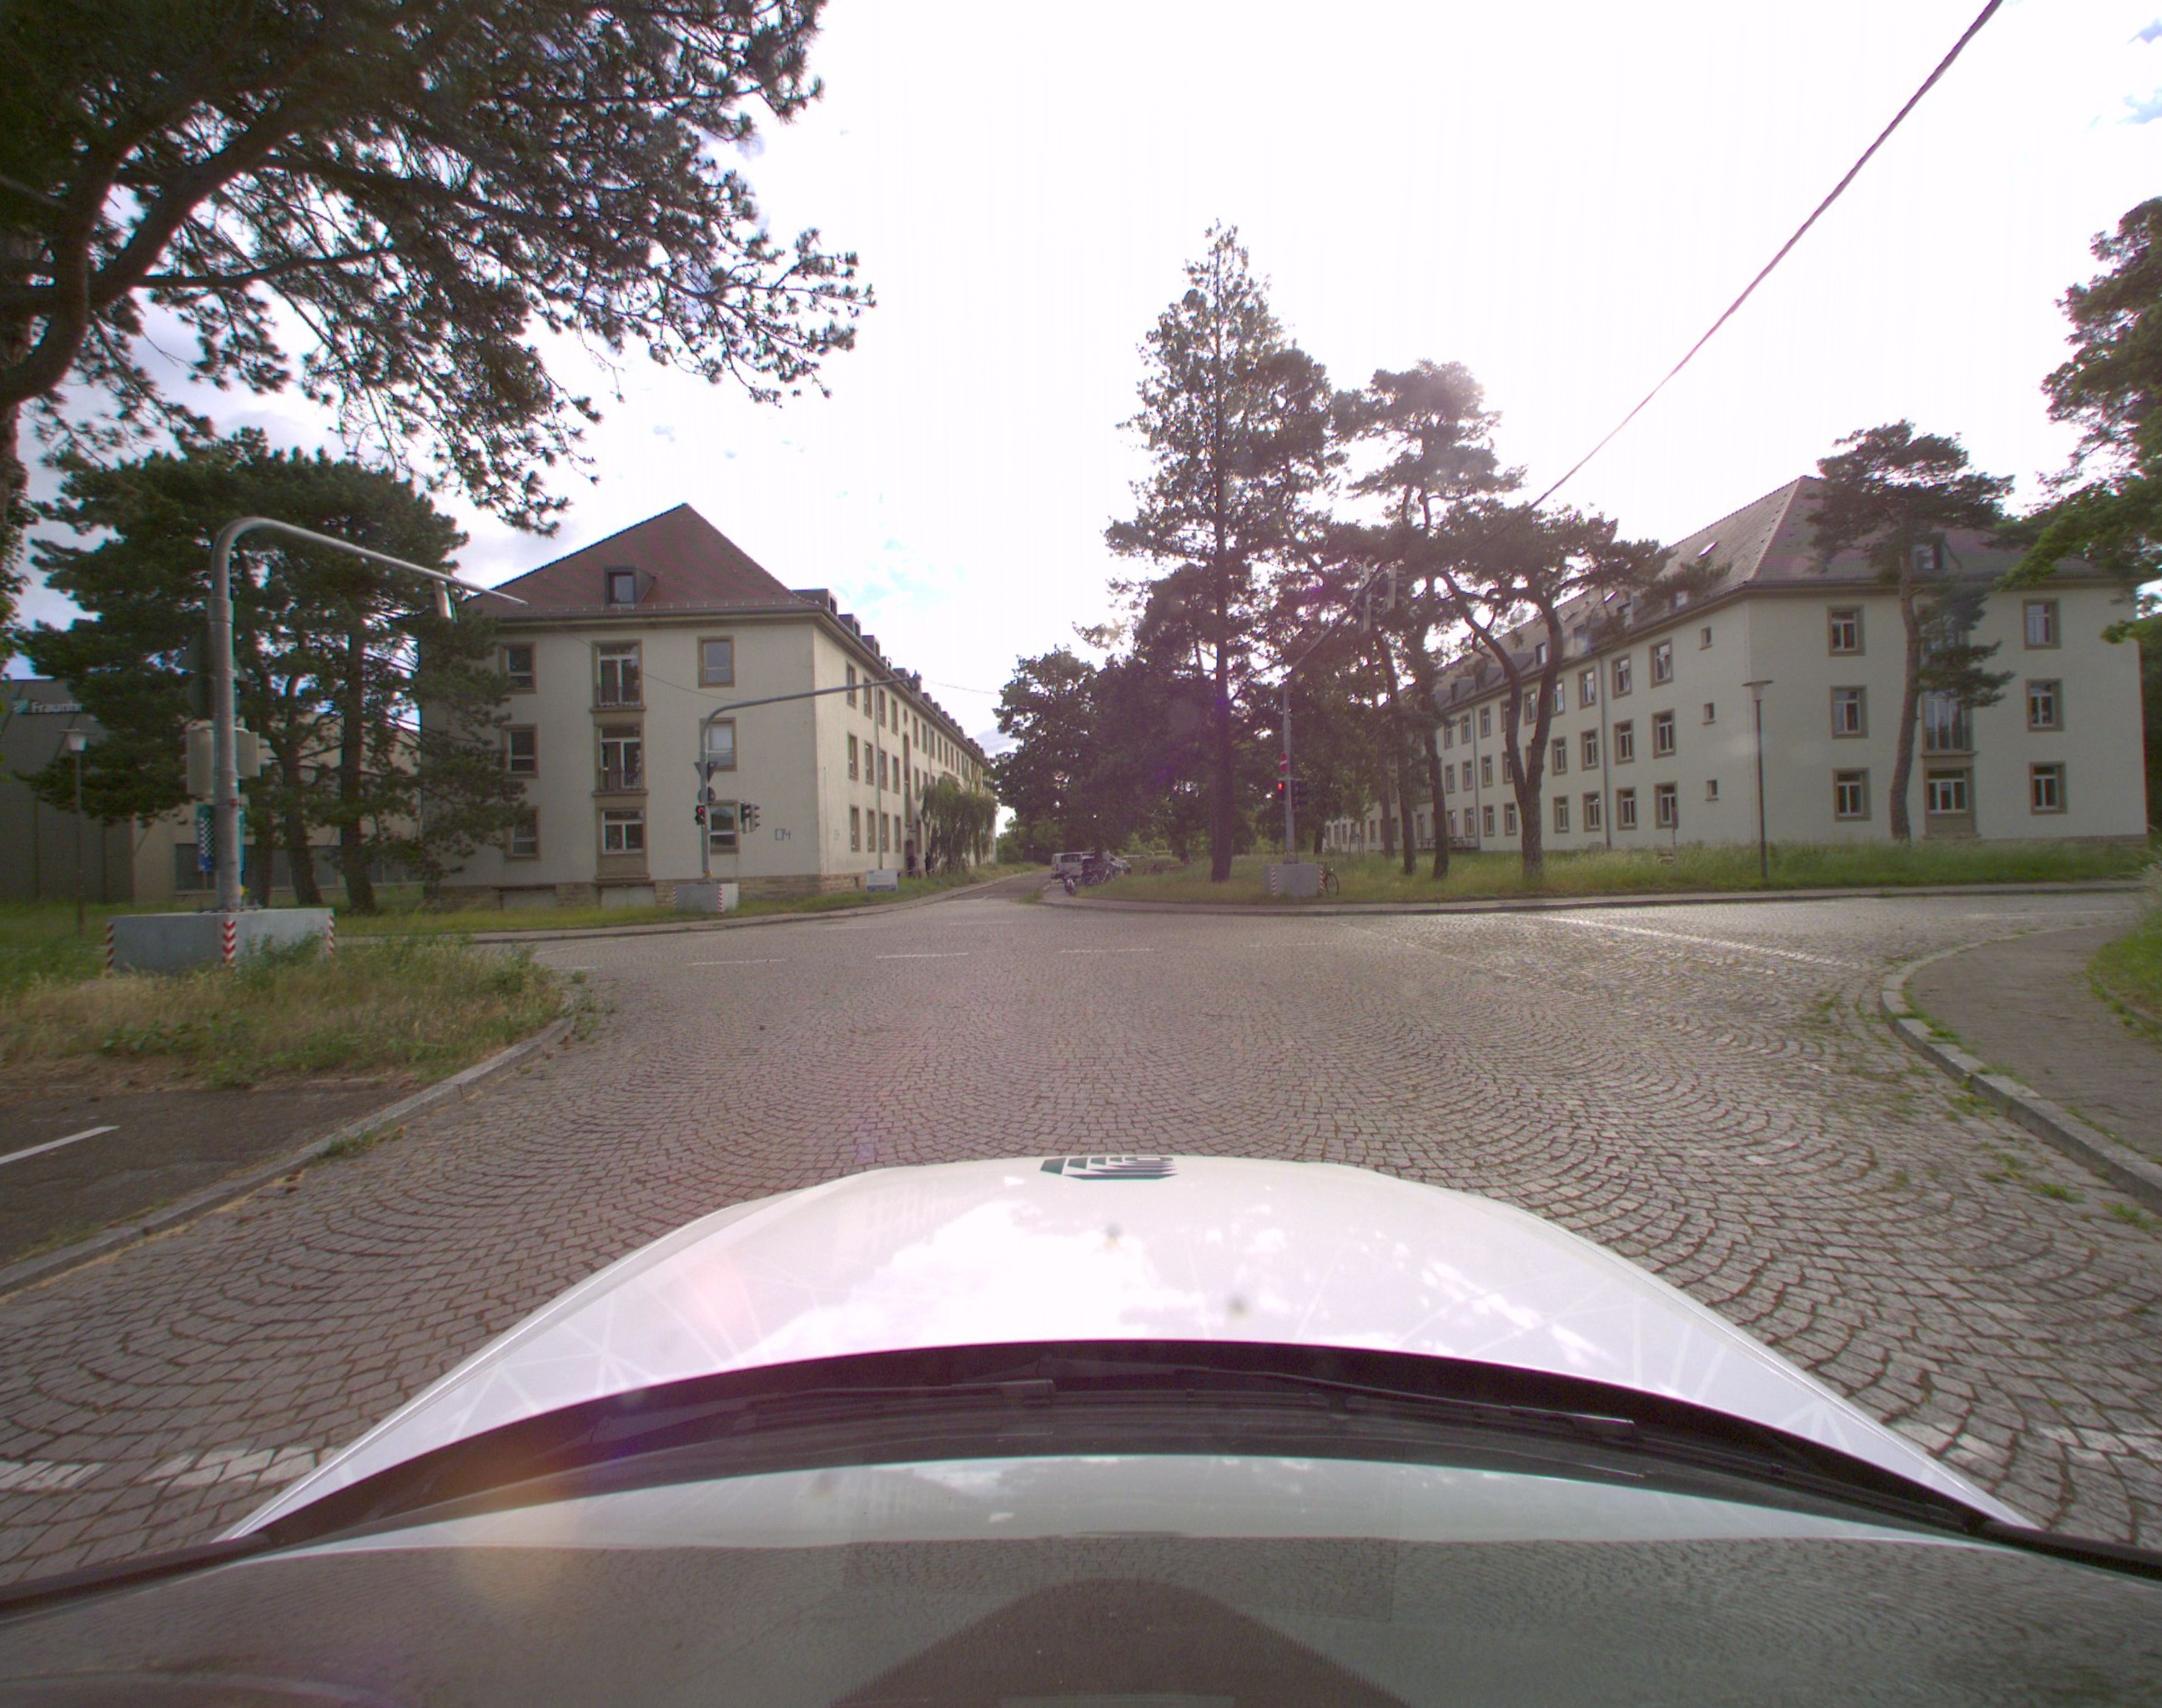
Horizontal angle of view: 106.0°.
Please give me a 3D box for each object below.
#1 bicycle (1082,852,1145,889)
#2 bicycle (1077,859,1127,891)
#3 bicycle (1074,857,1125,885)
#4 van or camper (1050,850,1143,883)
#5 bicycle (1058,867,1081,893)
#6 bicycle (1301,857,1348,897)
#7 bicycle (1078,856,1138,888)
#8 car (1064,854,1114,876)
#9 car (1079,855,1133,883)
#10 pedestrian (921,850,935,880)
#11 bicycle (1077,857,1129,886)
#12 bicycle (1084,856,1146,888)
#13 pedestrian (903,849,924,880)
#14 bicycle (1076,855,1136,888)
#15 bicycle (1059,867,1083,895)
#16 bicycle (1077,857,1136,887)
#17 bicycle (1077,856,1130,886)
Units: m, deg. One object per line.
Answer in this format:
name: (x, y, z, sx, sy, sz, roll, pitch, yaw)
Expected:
bicycle: (1.447, 0.734, 37.069, 2.794, 1.583, 0.950, -2, -1, -1)
bicycle: (0.912, 0.926, 35.582, 2.106, 1.306, 0.874, -2, -1, -1)
bicycle: (0.920, 0.869, 42.063, 2.561, 1.372, 0.950, -2, -1, -2)
van or camper: (0.983, 0.794, 53.717, 5.747, 1.957, 2.228, -2, 0, -13)
bicycle: (-0.470, 1.079, 34.285, 0.724, 0.996, 1.981, -2, 0, 5)
bicycle: (7.017, 0.641, 23.532, 0.643, 1.062, 1.832, -6, 0, -3)
bicycle: (1.259, 0.849, 38.532, 2.794, 1.372, 0.950, -2, -1, -1)
car: (0.654, 0.911, 67.523, 3.977, 1.600, 1.702, -2, 0, -3)
car: (1.516, 0.924, 50.192, 3.215, 1.621, 1.937, -1, -1, -1)
pedestrian: (-9.723, 0.693, 51.682, 0.865, 1.932, 0.834, 0, -1, -12)
bicycle: (1.080, 0.857, 41.227, 2.561, 1.372, 0.950, -2, -1, -2)
bicycle: (1.582, 0.839, 38.000, 2.794, 1.372, 0.950, -2, -1, -1)
pedestrian: (-10.375, 0.640, 50.551, 1.194, 1.870, 1.545, 0, -1, -10)
bicycle: (1.099, 0.756, 36.197, 2.611, 1.367, 0.874, -2, -1, -1)
bicycle: (-0.404, 1.051, 32.194, 0.898, 0.996, 1.978, -2, 0, -1)
bicycle: (1.233, 0.861, 39.425, 2.794, 1.372, 0.950, -2, -1, -1)
bicycle: (1.090, 0.846, 40.387, 2.561, 1.372, 0.950, -2, -1, -2)
